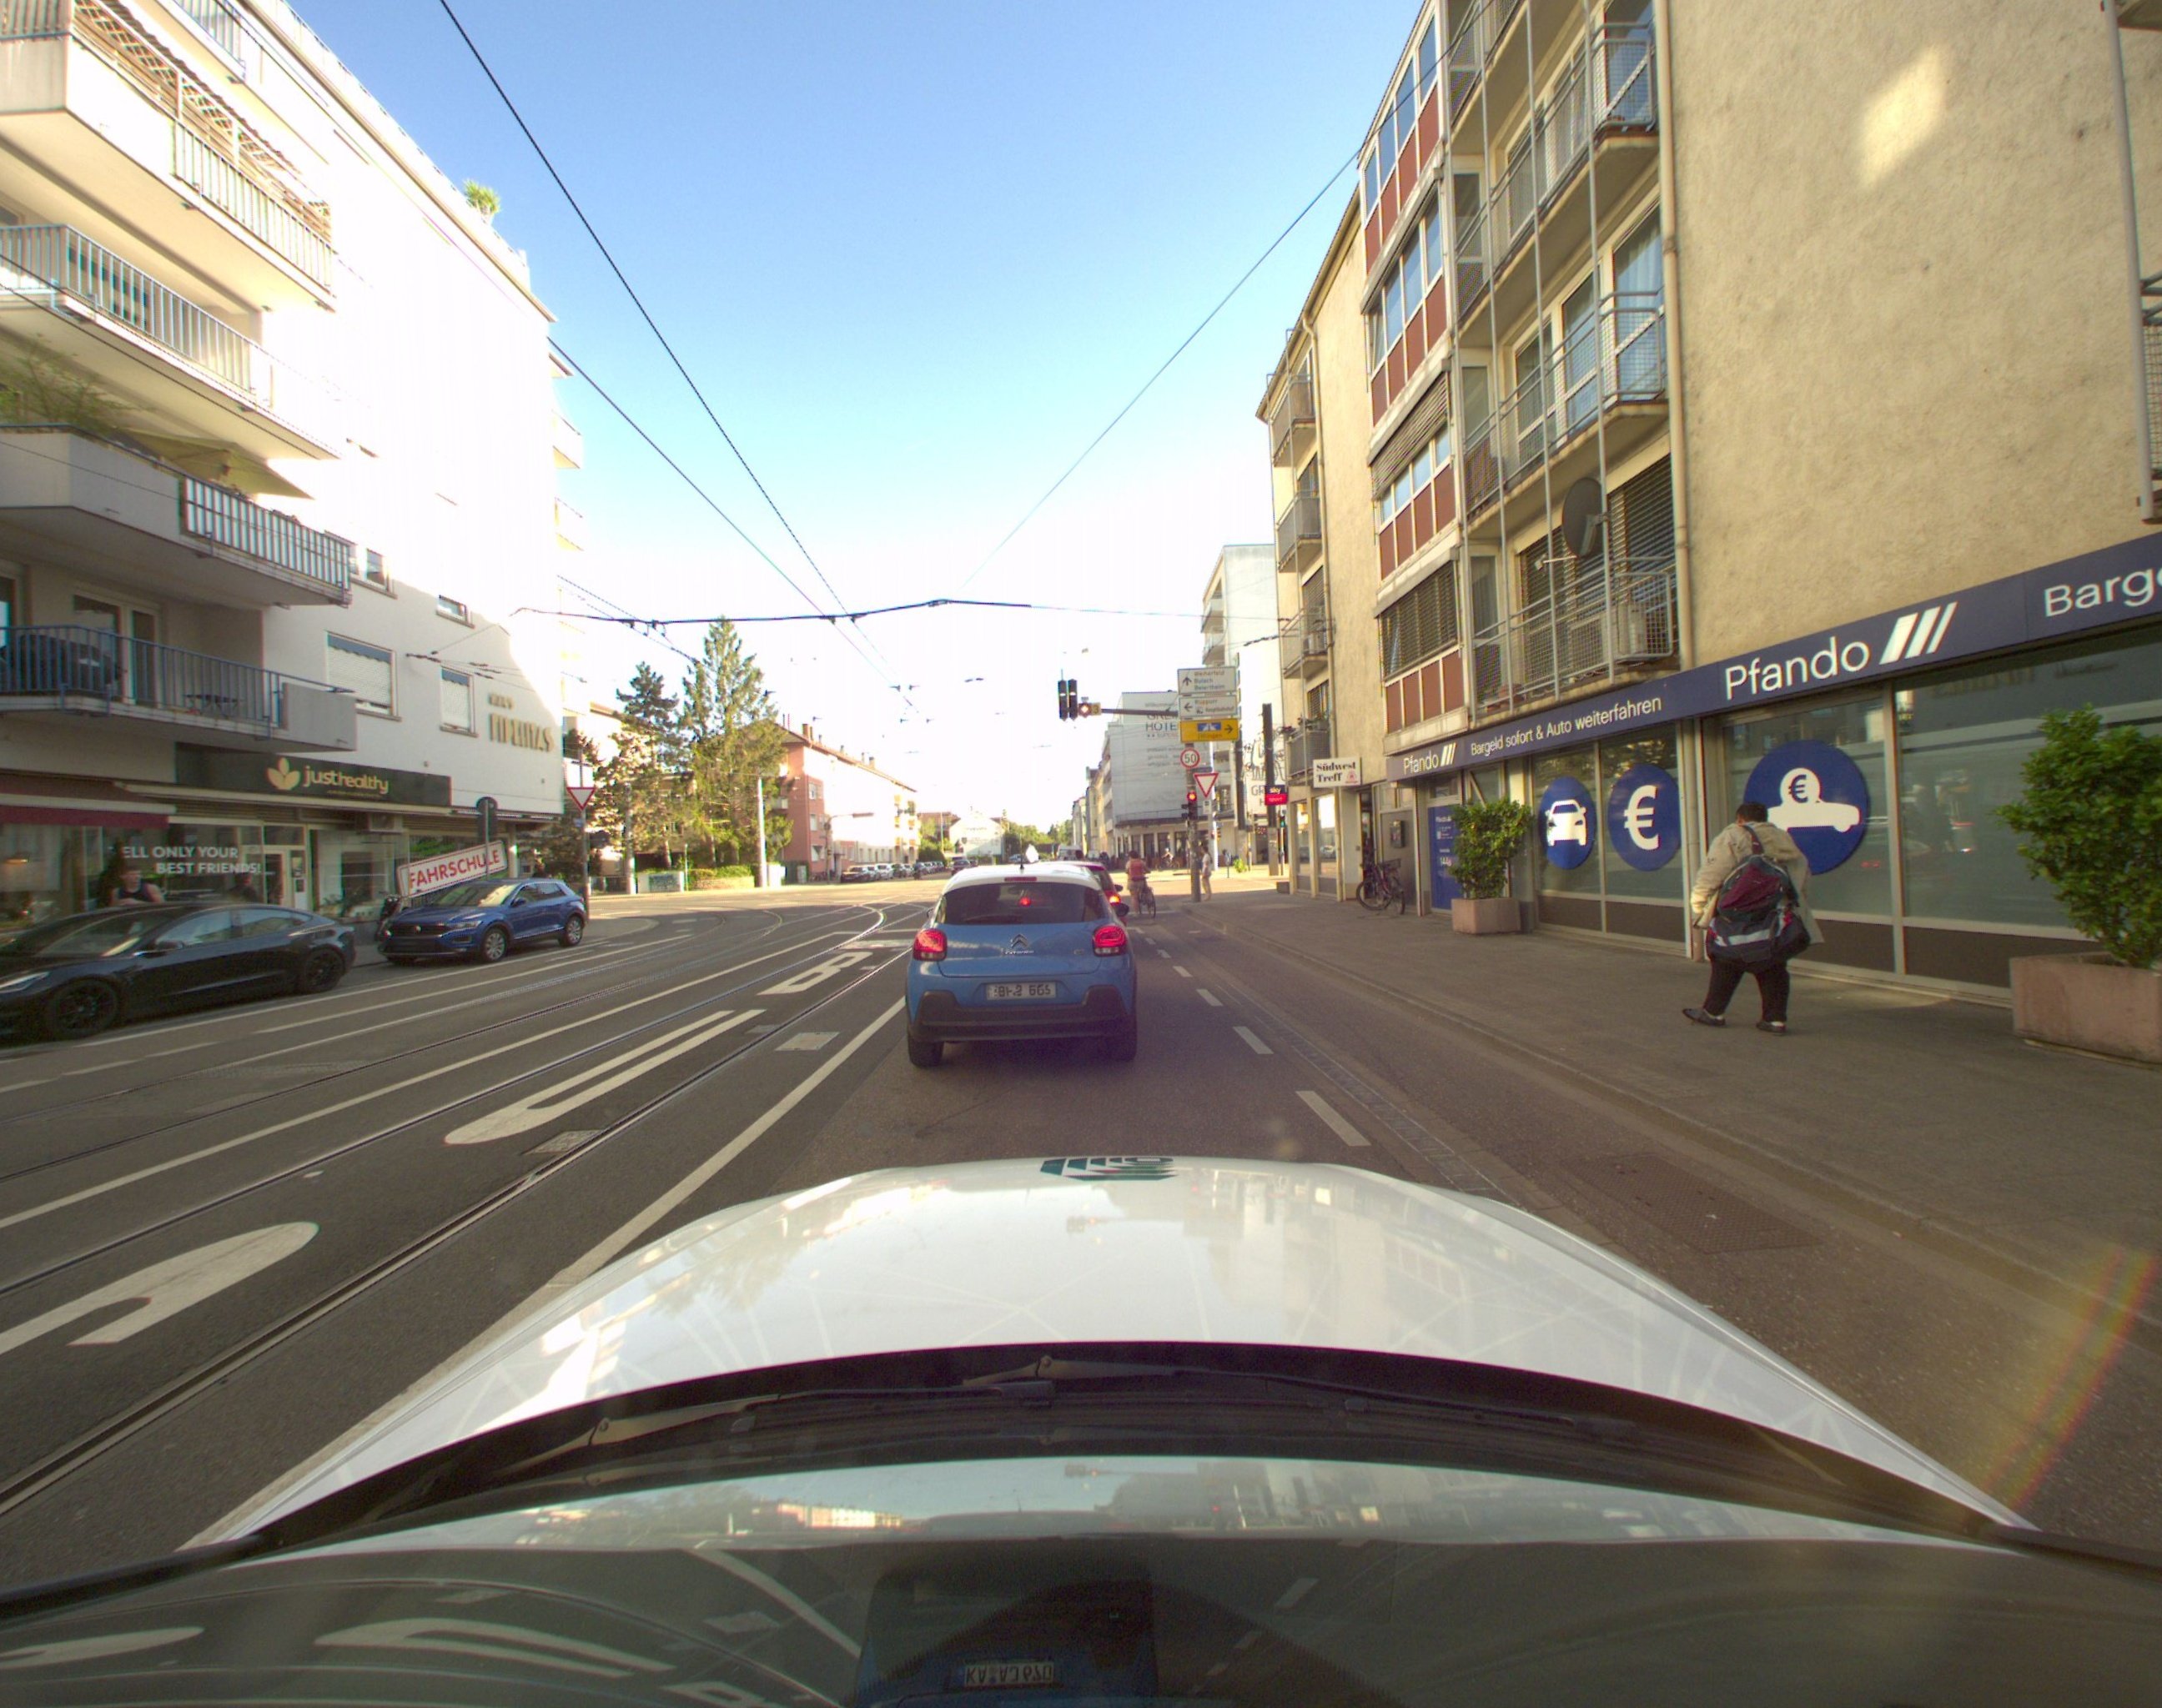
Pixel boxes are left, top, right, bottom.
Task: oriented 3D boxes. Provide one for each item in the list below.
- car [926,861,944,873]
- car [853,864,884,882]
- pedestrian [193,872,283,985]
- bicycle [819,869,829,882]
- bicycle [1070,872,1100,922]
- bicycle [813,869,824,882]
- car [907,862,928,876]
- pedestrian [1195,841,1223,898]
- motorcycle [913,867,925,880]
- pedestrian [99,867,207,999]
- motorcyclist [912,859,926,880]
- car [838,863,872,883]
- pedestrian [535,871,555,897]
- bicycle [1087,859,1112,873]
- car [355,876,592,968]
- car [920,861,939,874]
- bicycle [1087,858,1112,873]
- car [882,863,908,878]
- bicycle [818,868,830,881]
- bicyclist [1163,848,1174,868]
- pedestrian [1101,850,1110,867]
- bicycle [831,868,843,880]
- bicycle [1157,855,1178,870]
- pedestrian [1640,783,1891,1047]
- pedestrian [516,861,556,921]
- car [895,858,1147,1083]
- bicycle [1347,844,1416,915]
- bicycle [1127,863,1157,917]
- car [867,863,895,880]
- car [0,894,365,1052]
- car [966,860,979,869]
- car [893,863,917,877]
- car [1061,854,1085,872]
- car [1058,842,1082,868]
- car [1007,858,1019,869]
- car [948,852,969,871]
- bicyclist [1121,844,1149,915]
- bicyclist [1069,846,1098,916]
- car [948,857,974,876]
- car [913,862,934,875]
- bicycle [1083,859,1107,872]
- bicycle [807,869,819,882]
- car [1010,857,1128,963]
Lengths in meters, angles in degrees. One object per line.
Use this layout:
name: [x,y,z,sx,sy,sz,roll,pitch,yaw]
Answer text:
car: [-20.729,1.858,115.678,1.947,1.519,3.995,-2,0,-4]
car: [-19.572,1.720,75.238,1.947,1.519,4.040,-2,0,-4]
pedestrian: [-13.468,1.171,13.029,0.601,1.708,0.730,-2,0,-1]
bicycle: [-21.596,1.795,68.466,0.537,1.082,1.905,-2,0,-9]
bicycle: [0.080,1.021,19.862,0.615,1.103,1.884,-2,0,-2]
bicycle: [-21.975,1.796,68.182,0.537,1.082,1.905,-2,0,-9]
car: [-19.854,1.790,99.019,1.947,1.519,3.995,-2,0,-4]
pedestrian: [3.833,0.454,24.346,0.747,1.635,0.742,-2,0,7]
motorcycle: [-13.484,1.599,67.756,0.751,0.976,2.092,-2,0,-7]
pedestrian: [-13.772,1.146,12.109,0.668,1.857,0.753,-2,0,-2]
motorcyclist: [-13.475,1.272,67.688,0.990,1.631,0.737,-2,0,-7]
car: [-19.291,1.602,69.614,1.947,1.519,3.995,-2,0,-4]
pedestrian: [-36.728,2.047,55.802,0.805,1.702,0.681,-2,0,1]
bicycle: [1.525,0.964,67.238,1.901,1.064,0.641,-2,0,-6]
car: [-11.876,1.242,16.321,1.720,1.505,4.113,0,0,-2]
car: [-20.301,1.778,109.322,1.947,1.519,3.995,-2,0,-4]
bicycle: [1.516,0.933,65.931,1.901,1.064,0.641,-2,0,-6]
car: [-19.731,1.743,86.523,1.947,1.519,3.995,-2,0,-4]
bicycle: [-23.051,1.844,73.101,0.536,1.082,1.908,-2,0,-4]
bicyclist: [6.510,0.271,60.794,0.722,1.434,0.608,-2,0,12]
pedestrian: [2.103,0.400,70.375,0.520,1.420,0.550,-3,0,22]
bicycle: [-22.718,1.863,75.797,0.608,1.082,1.908,-2,0,-4]
bicycle: [6.480,0.620,60.800,1.478,1.091,0.608,-3,0,12]
pedestrian: [4.550,0.373,5.491,0.871,1.571,0.868,-4,0,-1]
pedestrian: [-17.308,1.170,25.881,0.761,1.834,0.725,-3,0,28]
car: [-0.448,0.789,7.495,1.675,1.462,3.997,-1,0,-2]
bicycle: [5.762,0.456,15.736,0.637,1.264,1.911,-2,0,2]
bicycle: [1.535,0.886,20.723,0.611,1.264,1.911,-2,0,2]
car: [-19.561,1.687,79.850,1.947,1.519,3.995,-2,0,-4]
car: [-11.980,1.328,10.417,1.720,1.403,4.486,0,0,-2]
car: [-19.344,1.825,145.239,1.947,1.519,3.995,-2,0,-4]
car: [-19.984,1.794,92.590,1.947,1.519,3.995,-2,0,-4]
car: [-0.716,0.745,67.982,1.783,1.359,3.909,-2,0,-4]
car: [-1.039,0.090,73.443,2.074,2.269,5.647,-1,0,-2]
car: [-14.274,1.990,171.405,2.333,2.039,5.044,-2,0,-4]
car: [-18.131,1.110,120.570,2.489,2.712,5.828,-2,0,-5]
bicyclist: [1.372,0.632,20.689,0.598,1.746,1.084,-2,0,2]
bicyclist: [0.050,0.645,19.760,0.615,1.630,0.759,-2,0,-2]
car: [-11.365,1.153,77.449,2.002,1.627,5.044,-2,0,-5]
car: [-20.100,1.805,104.033,1.947,1.519,3.995,-2,0,-4]
bicycle: [1.159,0.956,68.440,1.901,1.064,0.641,-2,0,-6]
bicycle: [-22.381,1.795,68.072,0.640,1.082,1.905,-2,0,-9]
car: [-0.223,0.809,13.704,1.675,1.462,3.997,-1,0,-2]
